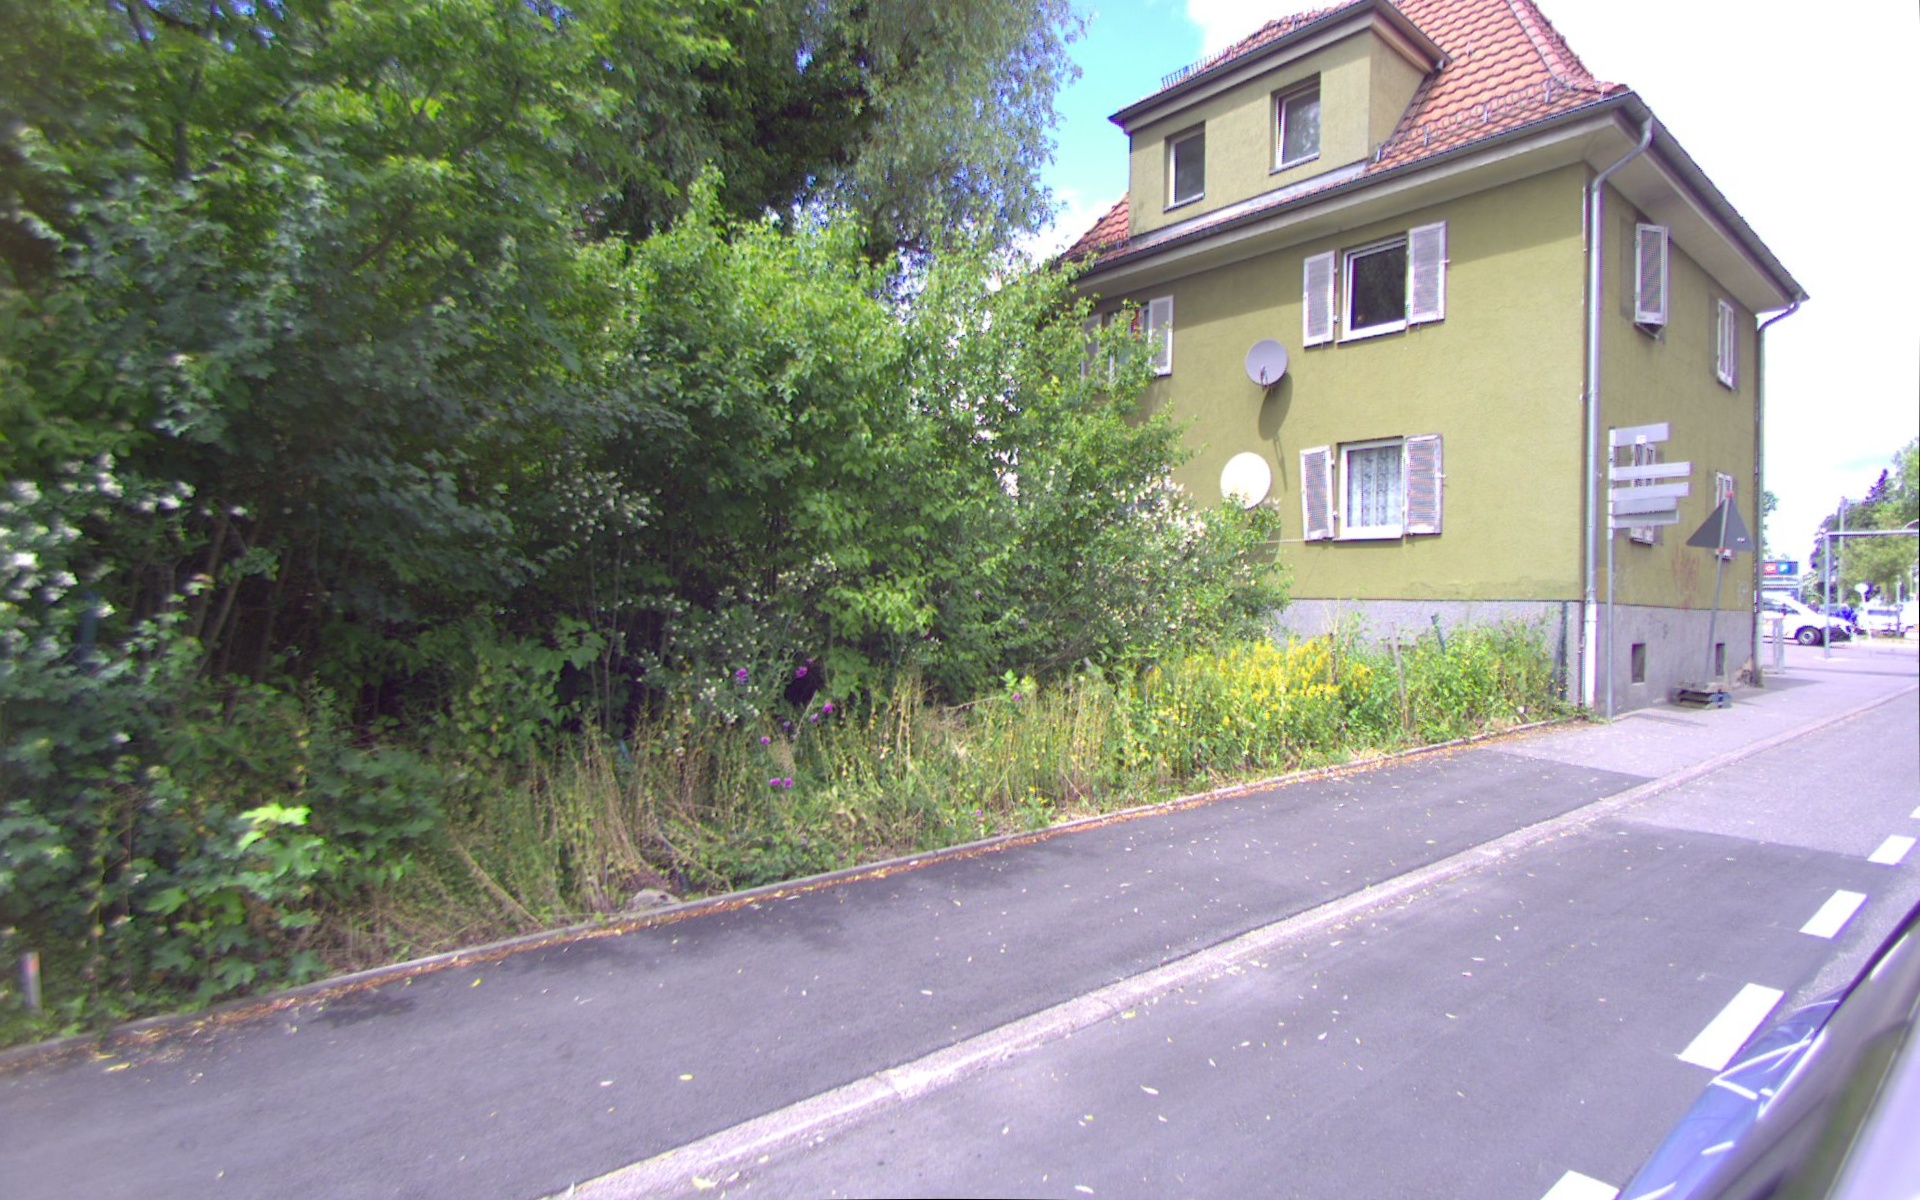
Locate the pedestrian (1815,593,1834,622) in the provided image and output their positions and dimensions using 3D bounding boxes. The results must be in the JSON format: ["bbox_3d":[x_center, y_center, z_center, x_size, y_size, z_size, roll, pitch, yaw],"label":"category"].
[{"bbox_3d":[51.316,0.456,60.071,0.765,1.683,0.721,1,-3,-45],"label":"pedestrian"}]

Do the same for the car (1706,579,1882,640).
[{"bbox_3d":[29.303,0.277,35.695,1.961,2.019,4.374,0,1,-32],"label":"car"}]

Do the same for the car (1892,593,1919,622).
[{"bbox_3d":[62.211,0.503,64.012,1.762,1.820,4.513,1,2,-13],"label":"car"}]

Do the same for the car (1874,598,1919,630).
[{"bbox_3d":[47.680,0.687,51.186,3.931,1.529,1.797,0,1,-42],"label":"car"}]

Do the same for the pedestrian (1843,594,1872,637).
[{"bbox_3d":[32.905,0.561,37.097,0.726,1.572,1.042,1,0,39],"label":"pedestrian"}]
